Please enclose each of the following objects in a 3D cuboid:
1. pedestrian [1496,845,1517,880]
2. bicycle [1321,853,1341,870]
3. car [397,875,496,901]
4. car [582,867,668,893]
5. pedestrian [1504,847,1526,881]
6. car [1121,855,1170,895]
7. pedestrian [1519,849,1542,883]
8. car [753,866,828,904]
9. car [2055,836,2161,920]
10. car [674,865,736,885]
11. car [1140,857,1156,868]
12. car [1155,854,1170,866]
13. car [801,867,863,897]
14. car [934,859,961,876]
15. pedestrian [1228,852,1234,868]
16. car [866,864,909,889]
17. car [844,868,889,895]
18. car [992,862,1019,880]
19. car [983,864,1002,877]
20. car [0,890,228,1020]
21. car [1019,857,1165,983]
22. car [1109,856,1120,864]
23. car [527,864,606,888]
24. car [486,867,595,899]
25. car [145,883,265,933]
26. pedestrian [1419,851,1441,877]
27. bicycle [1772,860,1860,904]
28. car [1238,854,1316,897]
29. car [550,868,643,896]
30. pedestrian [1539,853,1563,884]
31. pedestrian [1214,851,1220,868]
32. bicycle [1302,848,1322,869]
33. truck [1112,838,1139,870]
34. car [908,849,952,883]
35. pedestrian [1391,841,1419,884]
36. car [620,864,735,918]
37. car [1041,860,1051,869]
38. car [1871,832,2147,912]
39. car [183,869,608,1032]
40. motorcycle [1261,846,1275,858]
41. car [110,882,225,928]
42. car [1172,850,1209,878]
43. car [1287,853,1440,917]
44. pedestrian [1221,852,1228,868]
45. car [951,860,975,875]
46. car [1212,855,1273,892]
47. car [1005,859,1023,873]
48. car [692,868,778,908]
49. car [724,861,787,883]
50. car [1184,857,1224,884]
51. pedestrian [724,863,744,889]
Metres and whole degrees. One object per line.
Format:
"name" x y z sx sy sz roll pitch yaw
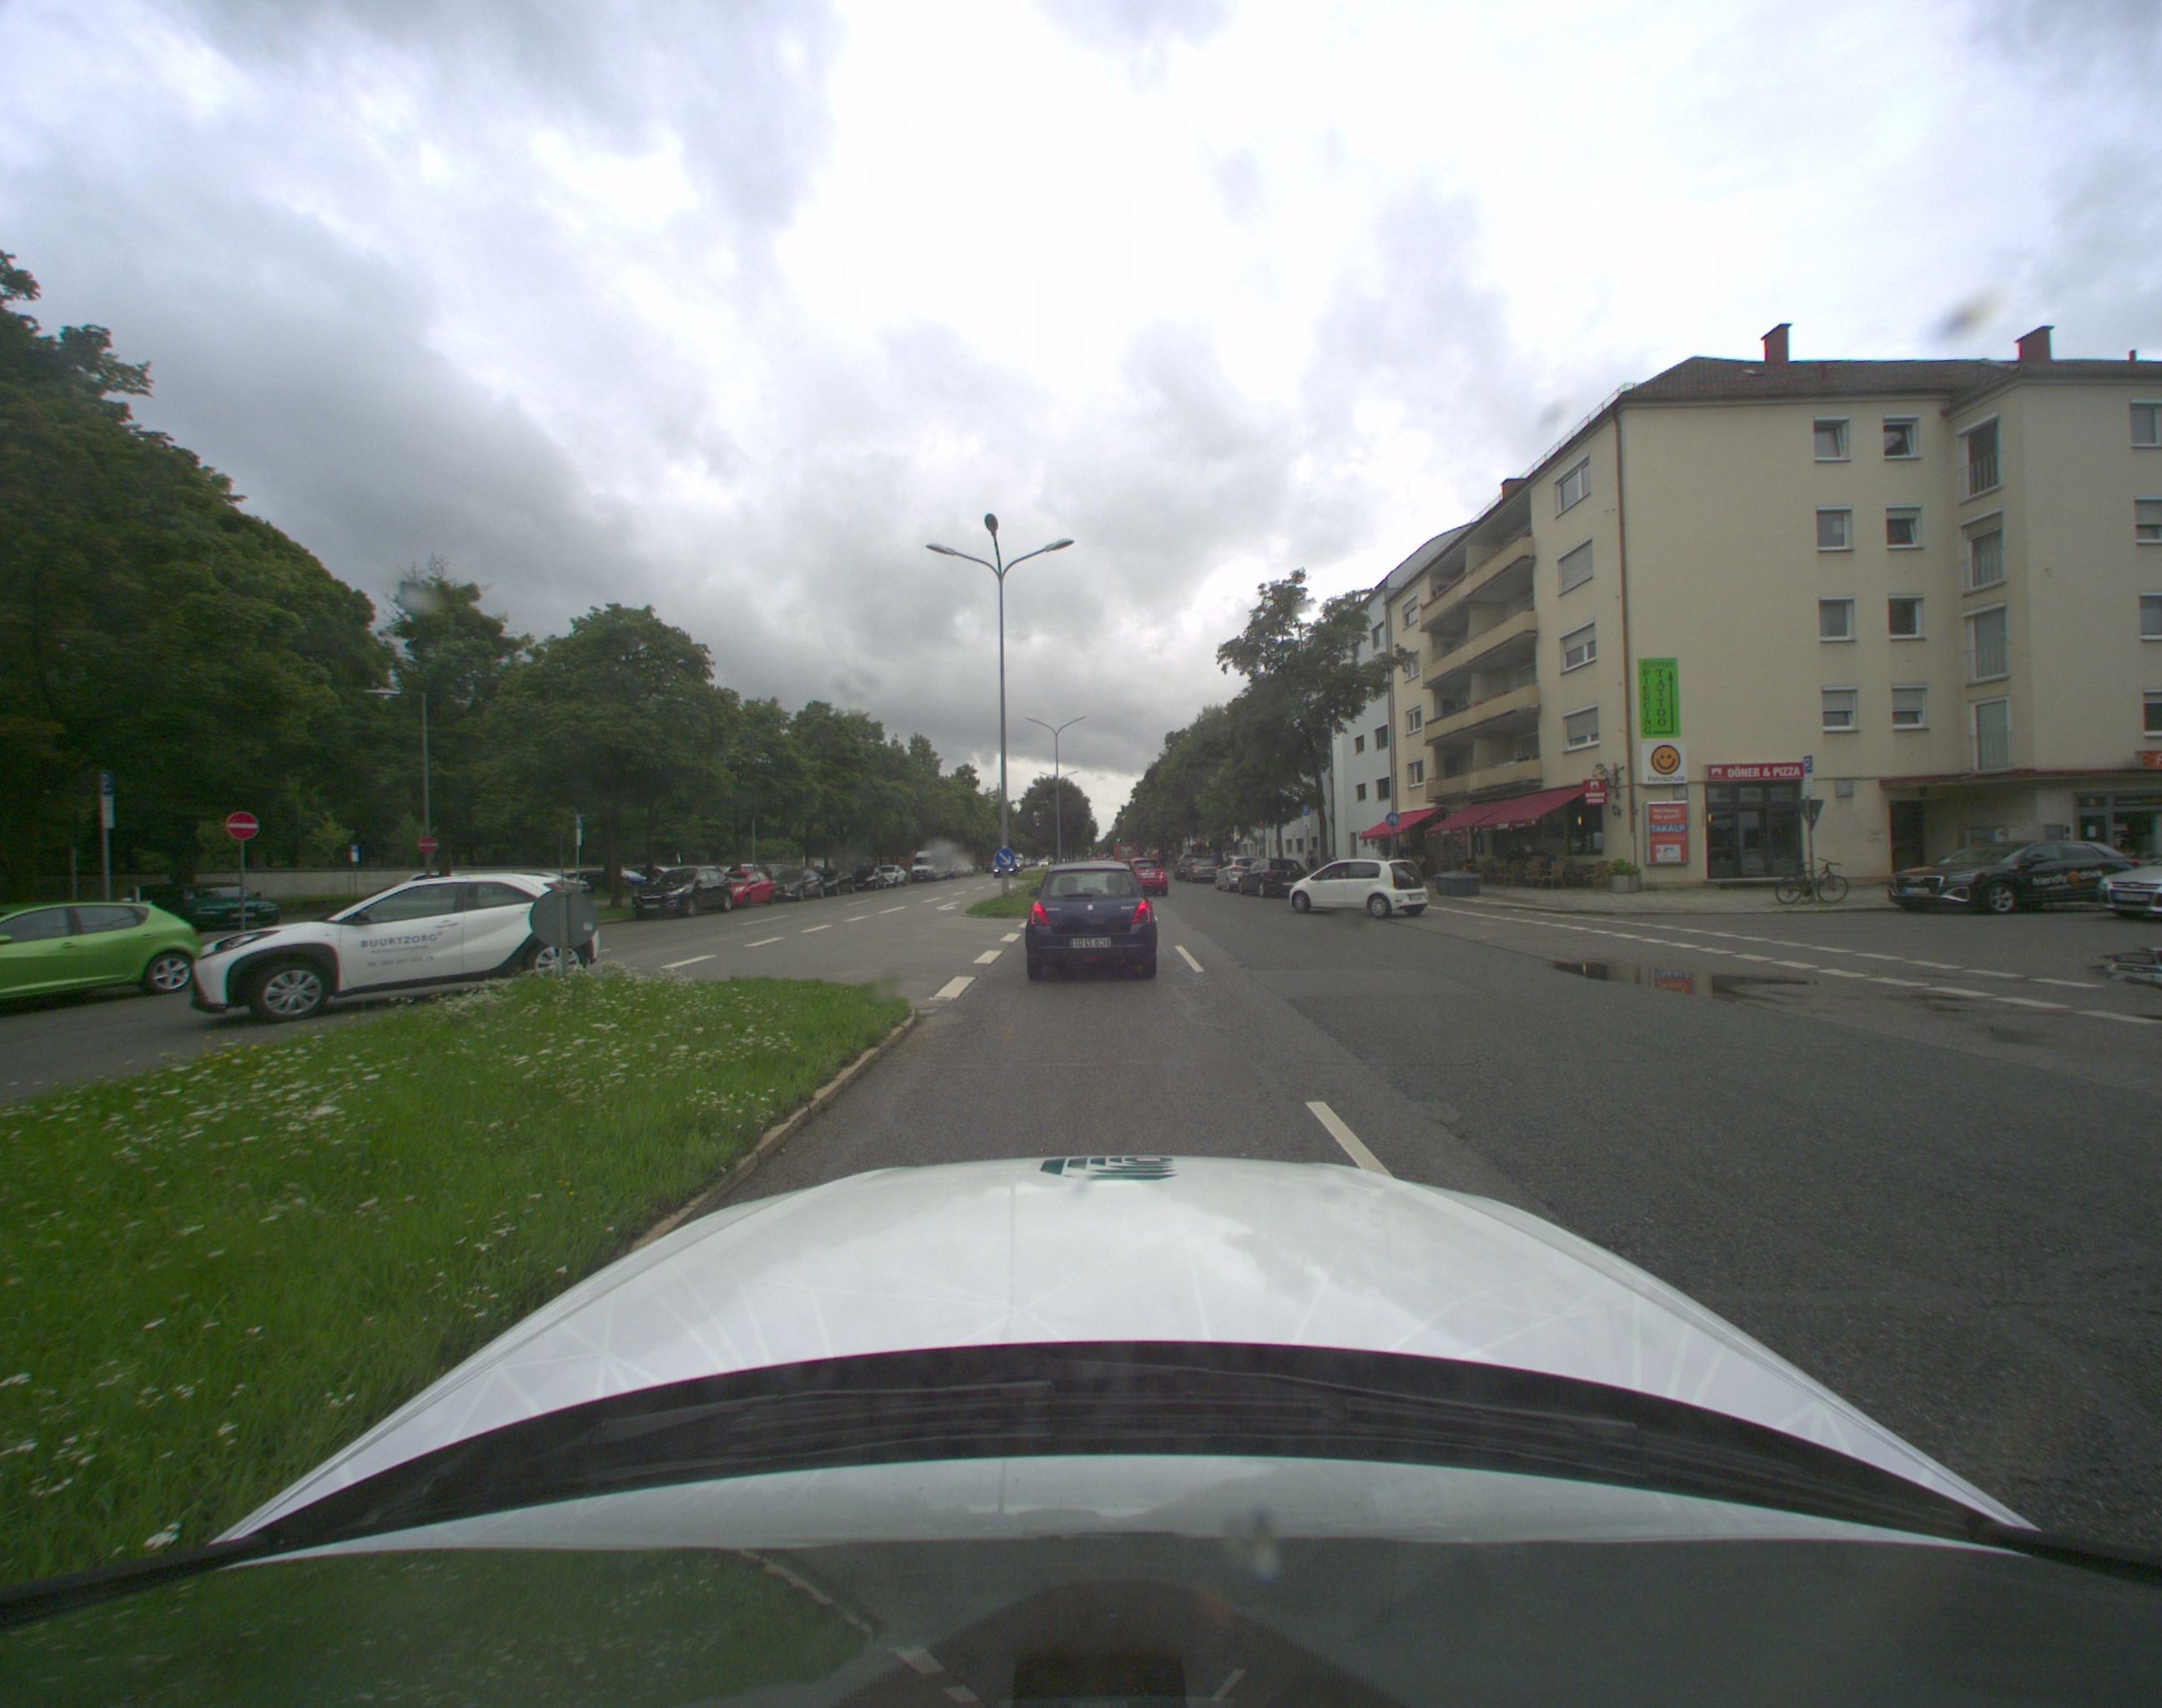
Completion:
"pedestrian" 16.638 0.344 31.853 0.536 1.339 0.552 -1 -1 0
"bicycle" 16.415 0.518 53.551 0.619 1.046 2.196 -5 0 2
"car" -38.389 2.059 49.325 4.485 1.442 2.002 -1 0 4
"car" -27.145 1.537 48.576 3.980 1.442 1.997 -1 0 -5
"pedestrian" 16.318 0.372 30.634 0.536 1.268 0.487 -1 -1 0
"car" 2.592 0.826 33.515 1.712 1.501 4.301 -1 0 1
"pedestrian" 16.319 0.429 29.560 0.536 1.214 0.487 -1 -1 1
"car" -13.508 1.384 38.147 1.814 1.599 4.115 -2 0 3
"car" 20.729 0.369 14.495 4.189 1.442 2.002 -1 0 4
"car" -29.965 1.648 64.997 3.980 1.442 1.997 -1 0 -5
"car" 9.407 1.220 114.665 1.986 1.452 4.001 -1 0 2
"car" 12.159 0.908 121.951 1.986 1.643 4.334 -1 0 2
"car" -13.347 1.472 43.813 1.814 1.409 4.004 -3 0 4
"car" -12.620 1.283 77.140 1.851 1.491 4.251 -1 -1 0
"pedestrian" 15.597 0.578 84.769 0.539 1.640 0.724 -1 -1 1
"car" -13.098 1.545 55.401 1.815 1.527 4.298 -3 -1 0
"car" -13.156 1.680 50.201 1.817 1.447 3.996 -3 0 -3
"car" -6.613 1.483 71.612 1.809 1.448 4.782 -2 0 1
"car" -11.699 2.212 107.737 1.881 1.537 4.313 -4 0 0
"car" -14.293 1.358 10.782 1.634 1.499 4.002 -3 0 2
"car" 0.210 0.810 11.916 1.746 1.505 4.002 -1 0 2
"car" 6.163 1.083 148.630 1.823 1.522 3.770 -1 0 0
"car" -37.958 1.636 60.133 4.490 1.625 2.000 -1 0 0
"car" -26.716 1.421 40.335 3.980 1.442 1.997 -1 0 -5
"car" -27.873 1.660 25.899 3.809 1.409 1.871 -1 0 32
"pedestrian" 16.121 0.466 37.613 0.741 1.163 0.647 -1 0 1
"bicycle" 17.490 0.660 19.391 1.532 1.011 0.554 -1 0 4
"car" 7.392 0.777 31.035 1.825 1.473 3.883 -1 0 -4
"car" -27.205 1.568 45.832 3.980 1.442 1.997 -1 0 -5
"pedestrian" 16.203 0.492 28.087 0.536 1.054 0.487 -1 -1 1
"pedestrian" 14.103 0.614 84.575 0.498 1.733 0.733 -1 -1 1
"bicycle" 16.411 0.319 57.983 0.700 1.407 2.593 -3 0 2
"truck" 5.395 0.049 100.266 3.030 3.557 13.681 -1 0 2
"car" -12.789 0.945 69.579 2.132 2.643 7.108 -3 0 2
"pedestrian" 14.757 0.383 37.083 0.870 1.929 0.757 -1 -1 -15
"car" -13.802 1.237 28.150 1.815 1.700 4.238 -1 -1 0
"car" -6.957 2.074 163.278 1.756 1.537 4.312 -4 0 -1
"car" 19.566 0.368 17.300 3.913 1.519 1.730 -1 0 -1
"car" -8.131 1.015 10.105 3.738 1.553 1.807 -1 0 -37
"motorcycle" 16.824 -0.186 73.241 0.758 1.086 2.200 -2 0 2
"car" -31.546 1.712 28.106 4.411 1.409 1.871 -1 0 32
"car" 7.259 0.630 54.174 1.823 1.746 4.507 -1 0 0
"car" 7.274 0.767 21.218 1.700 1.490 3.397 -1 0 -36
"pedestrian" 14.901 0.626 84.486 0.547 1.629 0.641 -3 -1 1
"car" -12.273 1.370 84.806 1.851 1.491 4.141 -1 -1 0
"car" 7.178 0.811 36.562 1.823 1.522 4.523 -1 0 0
"car" -8.636 1.543 105.158 1.844 1.600 4.404 -3 0 2
"car" -13.956 1.343 33.083 1.815 1.479 3.809 -1 -1 0
"car" -24.771 1.382 62.077 3.970 1.570 1.816 -2 0 2
"car" 7.382 0.955 49.203 1.823 1.522 3.770 -1 0 0
"pedestrian" -20.976 1.333 49.288 0.792 1.495 0.856 -2 0 1
